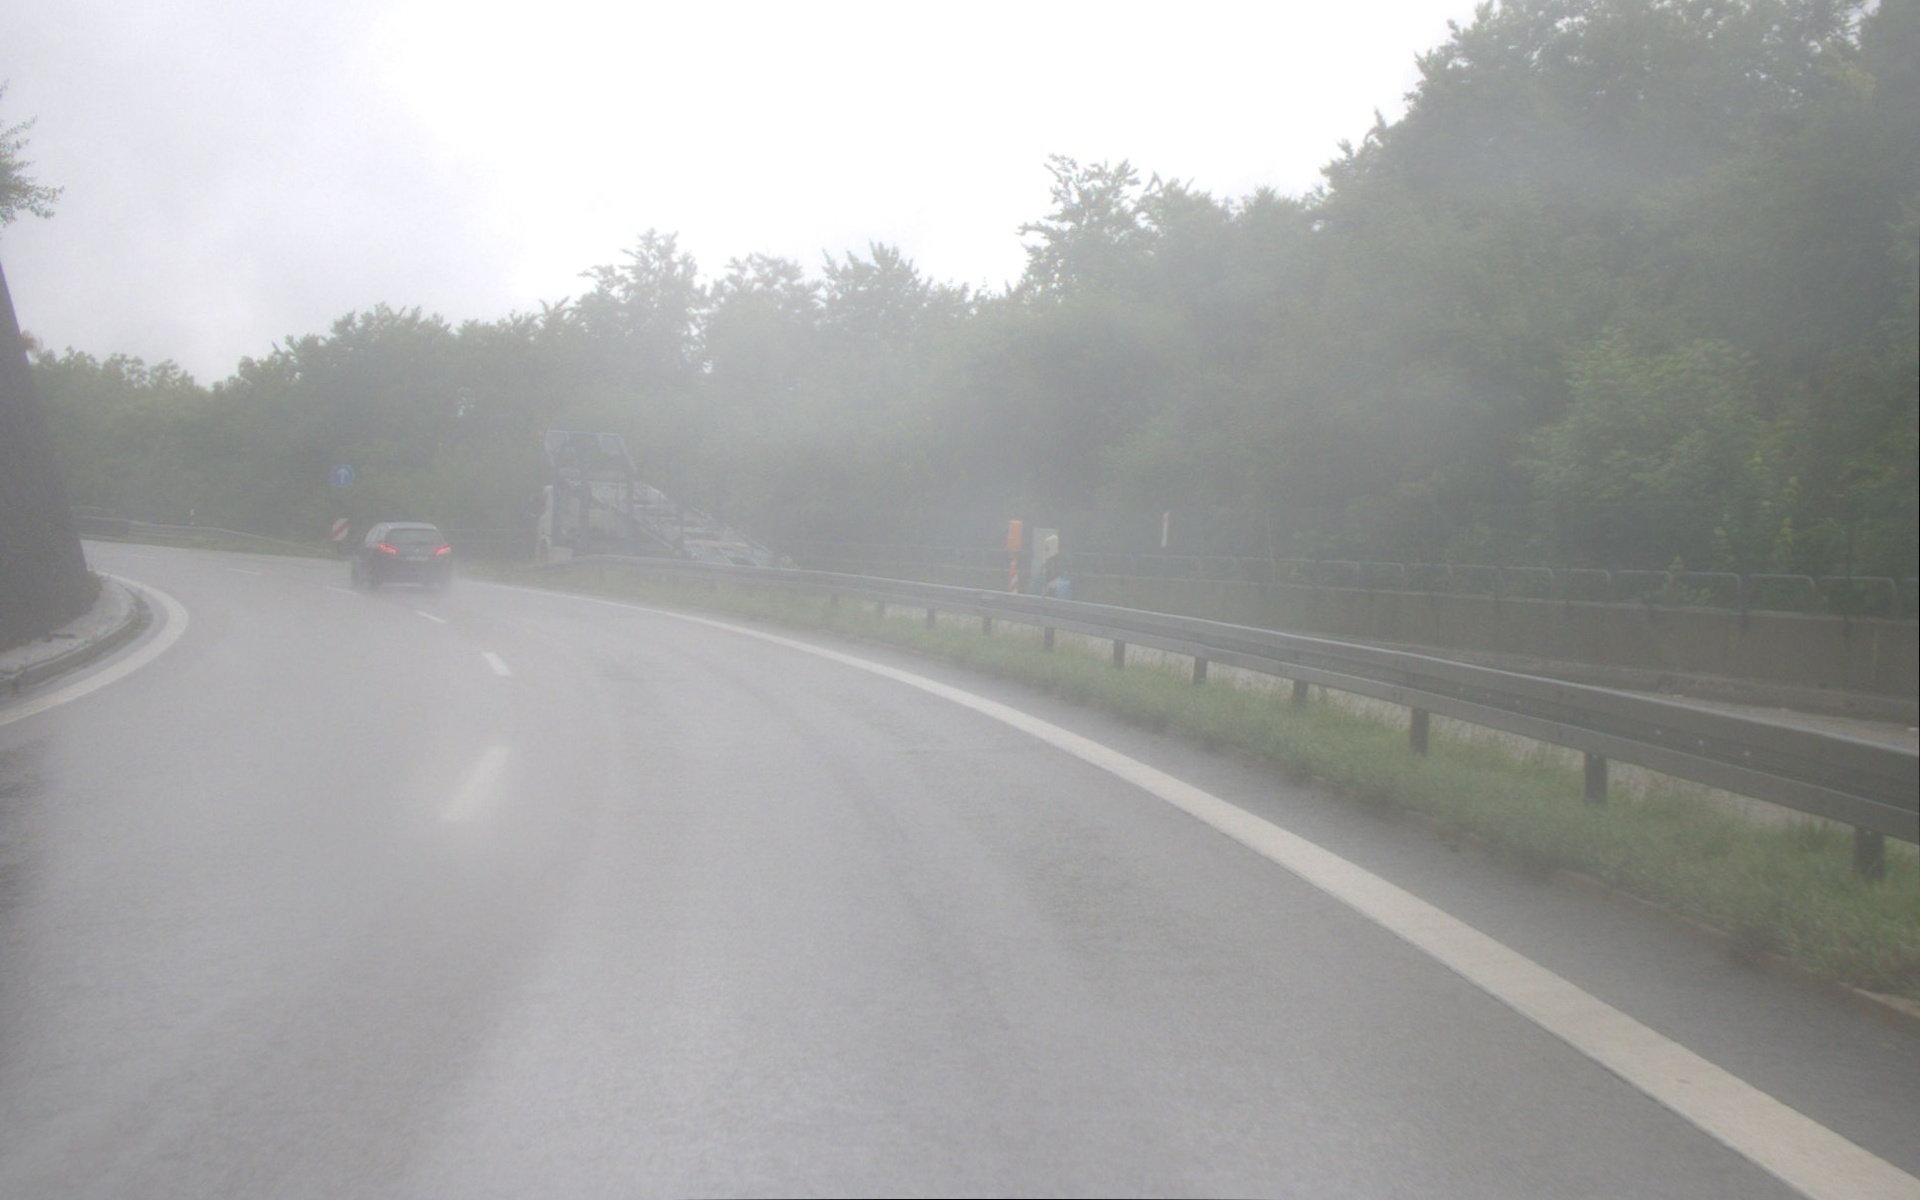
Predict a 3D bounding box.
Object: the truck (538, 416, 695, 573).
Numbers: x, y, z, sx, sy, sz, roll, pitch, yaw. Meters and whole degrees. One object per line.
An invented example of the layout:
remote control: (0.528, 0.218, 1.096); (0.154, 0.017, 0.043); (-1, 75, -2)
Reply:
truck: (-9.827, -2.973, 97.780); (2.895, 4.230, 6.883); (1, 1, -19)

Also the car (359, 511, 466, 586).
car: (-12.085, -1.155, 75.712); (1.903, 1.494, 4.001); (3, 1, -14)

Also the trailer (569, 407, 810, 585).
trailer: (-7.318, -2.695, 90.099); (2.891, 4.230, 14.702); (1, 1, -18)
